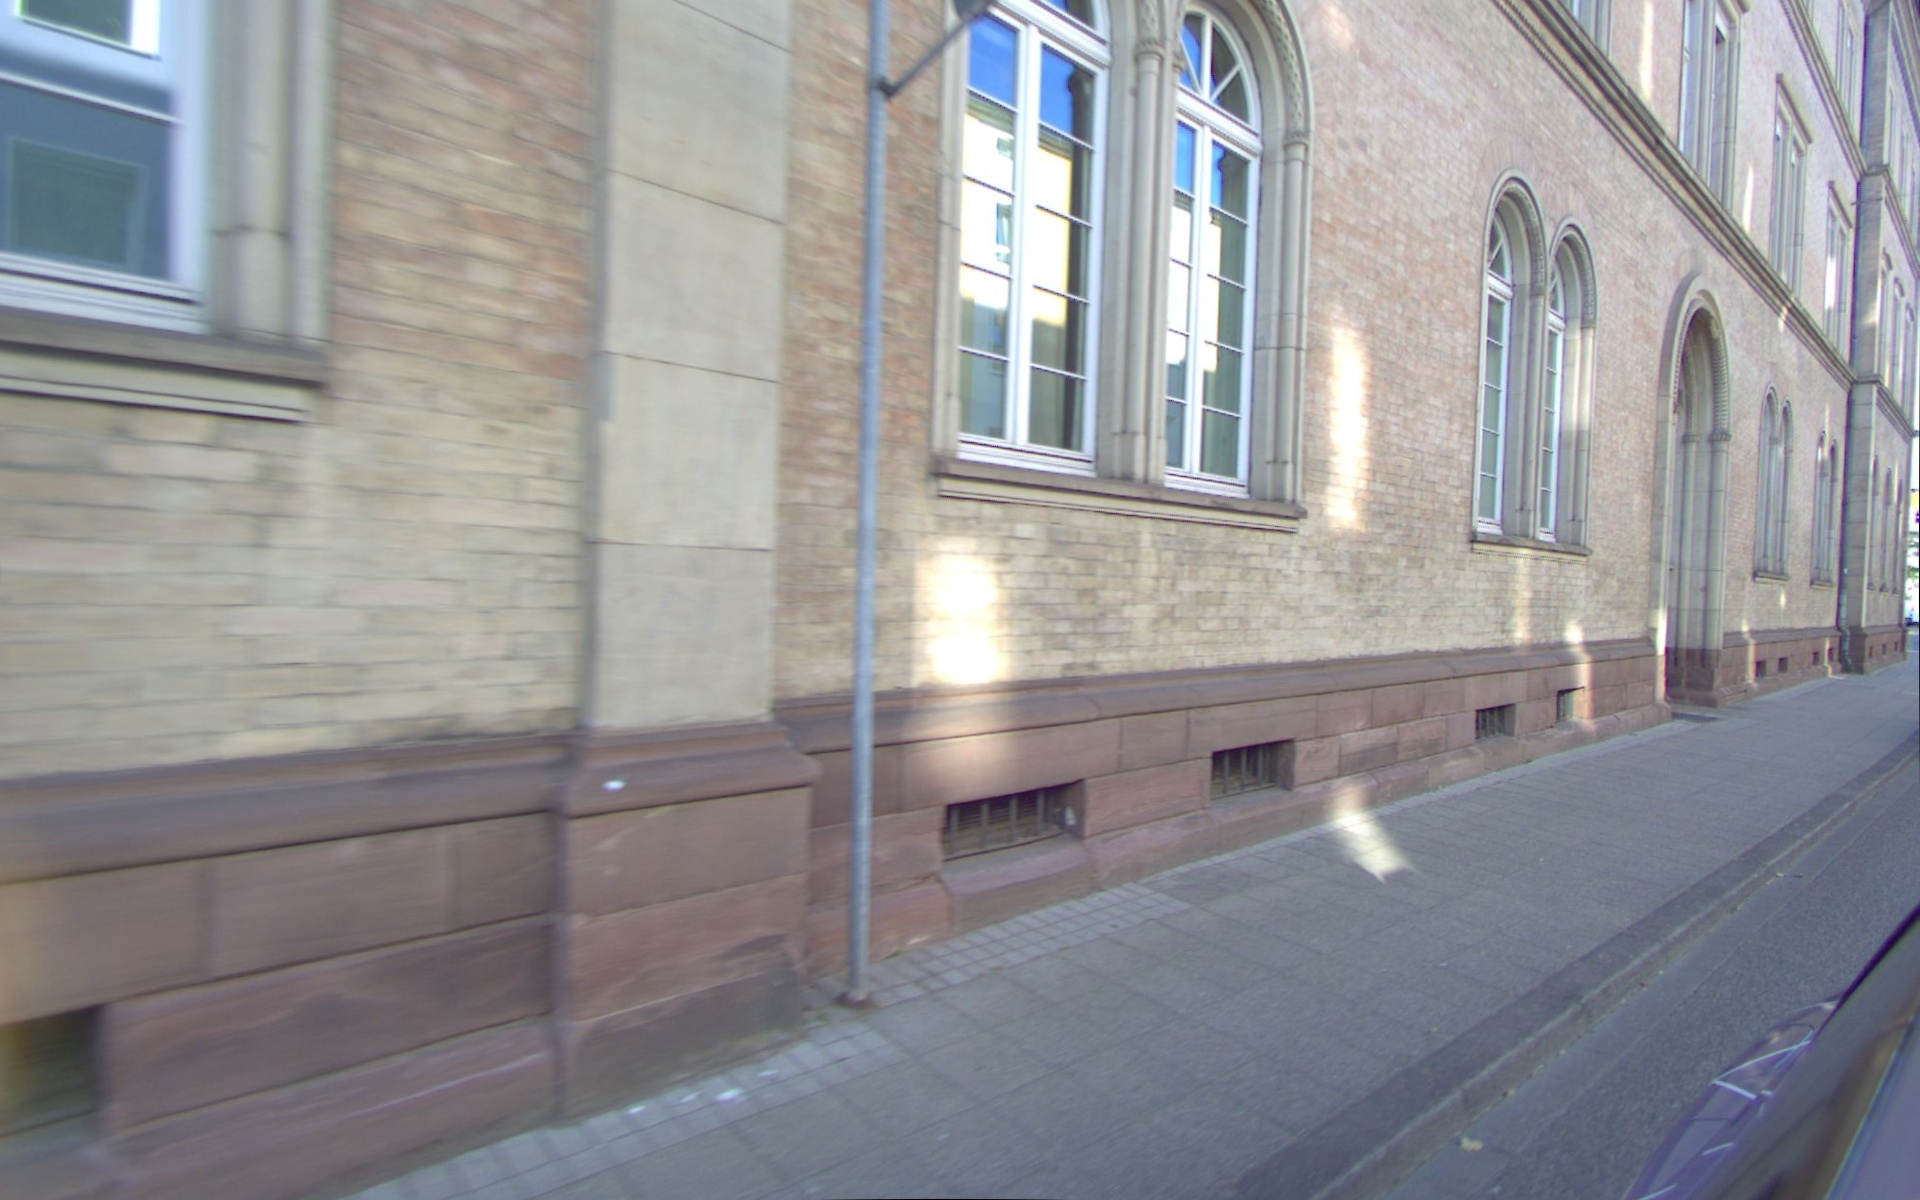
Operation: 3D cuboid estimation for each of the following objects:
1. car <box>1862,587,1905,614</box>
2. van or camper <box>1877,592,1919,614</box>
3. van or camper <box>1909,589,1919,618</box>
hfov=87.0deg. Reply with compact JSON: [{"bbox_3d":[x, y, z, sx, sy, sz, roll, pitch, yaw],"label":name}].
[{"bbox_3d":[72.999,0.040,80.086,1.988,2.039,3.949,2,1,36],"label":"car"},{"bbox_3d":[92.634,0.315,98.441,4.687,2.113,1.981,2,1,27],"label":"van or camper"},{"bbox_3d":[68.369,0.274,70.892,2.150,2.038,4.911,3,2,36],"label":"van or camper"}]
